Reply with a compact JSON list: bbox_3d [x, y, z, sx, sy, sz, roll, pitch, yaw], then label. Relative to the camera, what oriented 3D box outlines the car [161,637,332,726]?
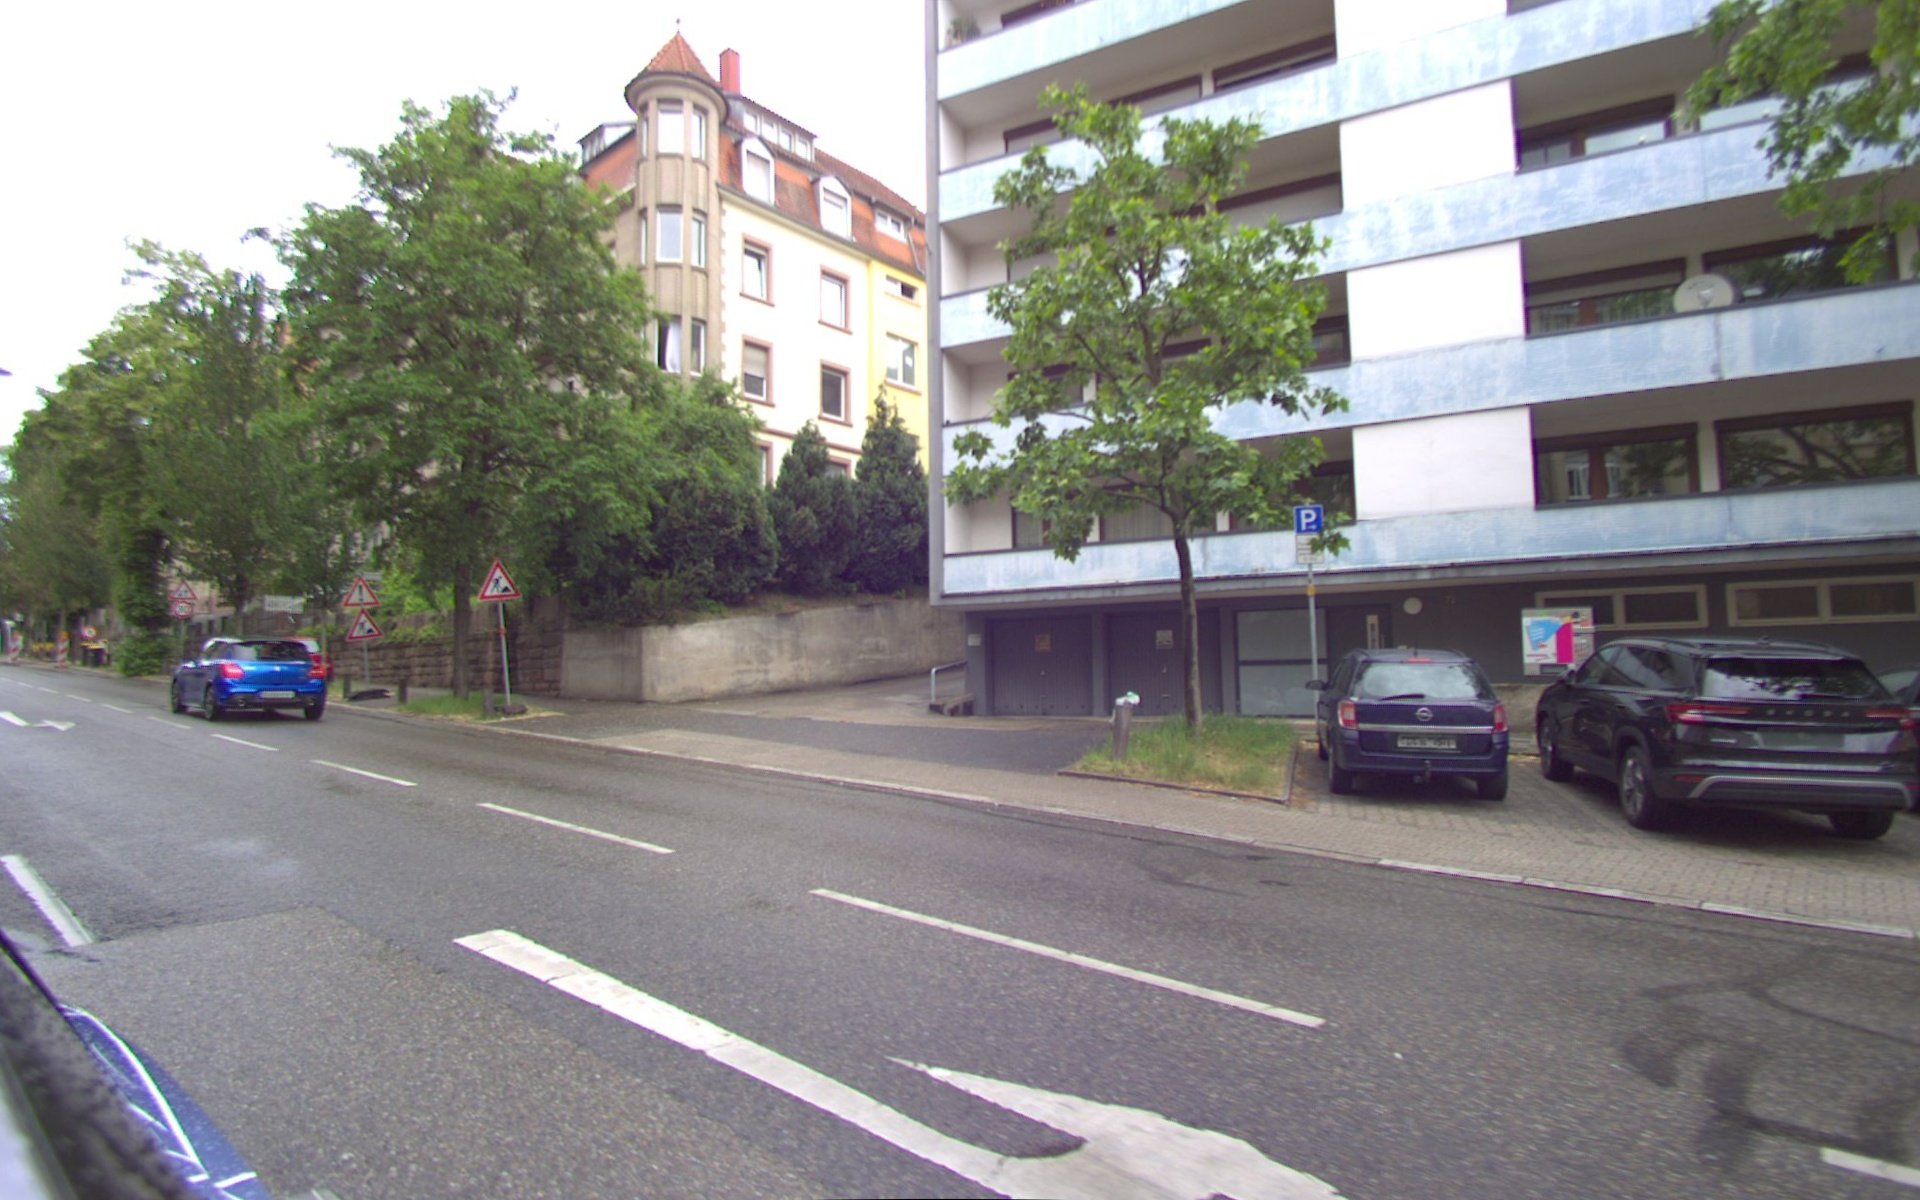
[{"bbox_3d":[-13.236,1.450,18.704,3.740,1.462,1.697,-2,-5,41],"label":"car"}]

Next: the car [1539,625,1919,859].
[{"bbox_3d":[7.044,1.107,9.624,1.841,1.685,4.351,0,-2,19],"label":"car"}]

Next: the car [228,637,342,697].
[{"bbox_3d":[-18.212,1.749,27.244,4.063,1.462,1.596,-2,-2,42],"label":"car"}]

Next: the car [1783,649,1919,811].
[{"bbox_3d":[9.655,1.209,9.386,1.683,1.441,3.972,0,-2,16],"label":"car"}]

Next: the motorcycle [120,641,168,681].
[{"bbox_3d":[-30.723,2.280,38.070,3.058,1.425,0.792,-2,-1,39],"label":"motorcycle"}]

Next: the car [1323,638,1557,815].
[{"bbox_3d":[5.229,1.236,11.613,1.928,1.586,4.342,0,-2,19],"label":"car"}]
